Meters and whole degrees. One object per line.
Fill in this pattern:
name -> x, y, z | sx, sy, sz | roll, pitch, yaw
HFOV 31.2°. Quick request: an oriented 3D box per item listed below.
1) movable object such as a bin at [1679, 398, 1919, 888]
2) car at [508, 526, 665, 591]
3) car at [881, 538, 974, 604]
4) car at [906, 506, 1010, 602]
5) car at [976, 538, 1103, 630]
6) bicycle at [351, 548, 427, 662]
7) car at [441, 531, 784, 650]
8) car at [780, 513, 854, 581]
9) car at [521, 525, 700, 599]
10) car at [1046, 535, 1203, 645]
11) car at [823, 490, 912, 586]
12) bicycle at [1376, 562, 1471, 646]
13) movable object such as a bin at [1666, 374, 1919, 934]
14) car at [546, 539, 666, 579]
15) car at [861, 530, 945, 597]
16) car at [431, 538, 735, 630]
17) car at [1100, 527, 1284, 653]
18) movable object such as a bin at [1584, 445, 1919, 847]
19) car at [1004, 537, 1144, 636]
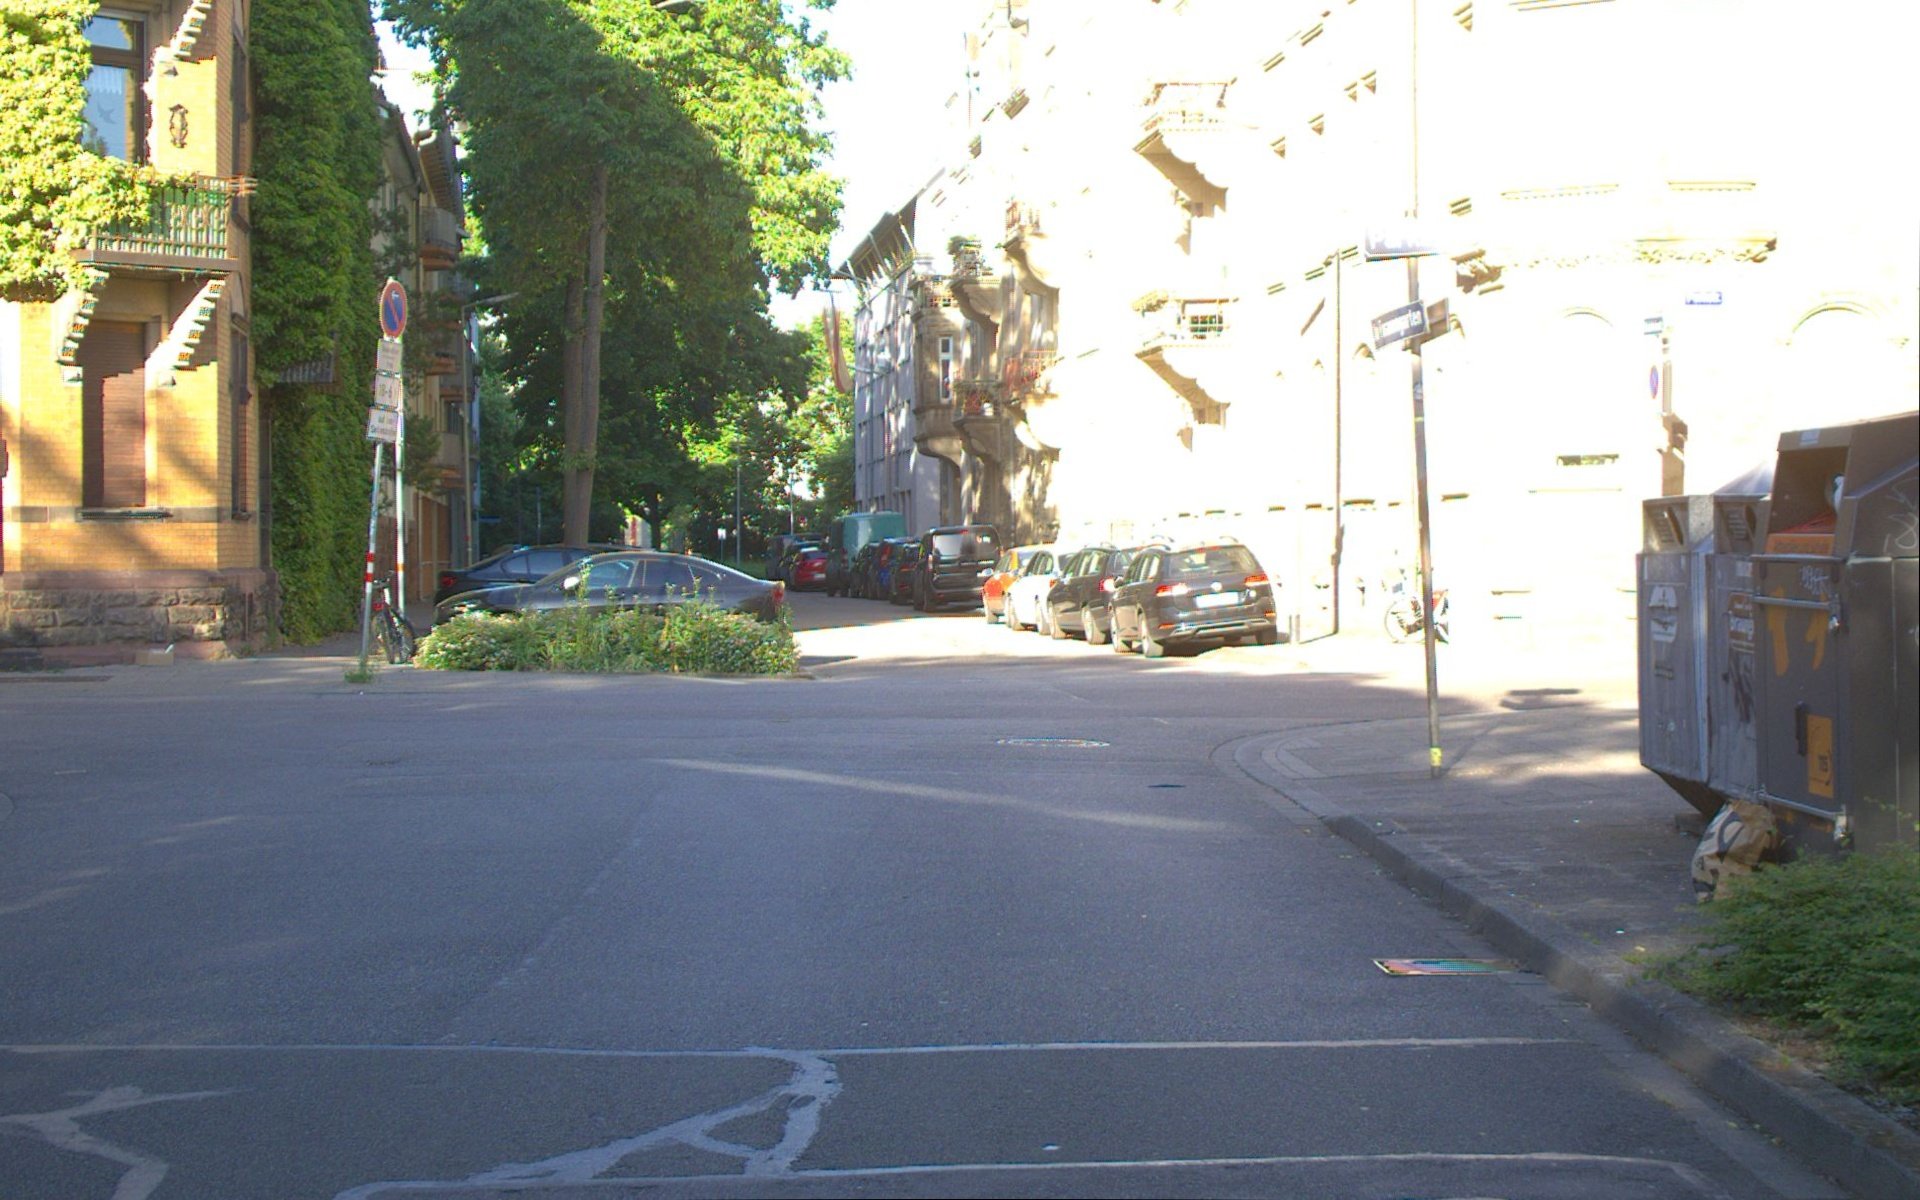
movable object such as a bin -> 3.577, 0.156, 13.544 | 1.147, 1.821, 1.386 | 1, 1, -1
car -> -9.278, -1.028, 85.356 | 3.800, 1.570, 1.710 | 1, 1, -8
car -> -0.801, -0.706, 82.425 | 1.802, 1.509, 4.001 | 1, 1, -6
car -> -0.075, -0.986, 74.232 | 1.802, 1.997, 4.001 | 1, 1, -6
car -> 1.398, -0.303, 61.867 | 1.737, 1.576, 4.001 | 1, 1, -6
bicycle -> -6.545, 0.041, 39.473 | 0.563, 1.264, 1.603 | -1, 1, 1
car -> -4.451, -0.130, 43.872 | 4.242, 1.430, 2.000 | 1, 1, -8
car -> -4.885, -1.789, 116.629 | 2.165, 2.229, 4.792 | 1, 1, -6
car -> -7.709, -0.836, 75.651 | 3.800, 1.570, 1.710 | 1, 1, -10
car -> 2.449, -0.173, 52.105 | 1.737, 1.576, 4.001 | 1, 1, -6
car -> -2.703, -1.790, 99.611 | 2.165, 2.681, 4.792 | 1, 1, -6
bicycle -> 5.686, 0.041, 42.241 | 0.514, 0.994, 1.576 | 1, 1, -18
movable object such as a bin -> 3.612, 0.180, 12.098 | 1.920, 1.847, 1.393 | 1, 1, -1
car -> -11.461, -1.329, 111.268 | 3.800, 1.236, 1.710 | 1, 1, -8
car -> -1.504, -0.954, 89.397 | 1.802, 1.673, 4.001 | 1, 1, -6
car -> -6.160, -0.264, 56.061 | 4.833, 1.430, 1.710 | 1, 1, -8
car -> 3.037, -0.154, 45.701 | 1.737, 1.576, 4.001 | 1, 1, -6
movable object such as a bin -> 3.706, 0.185, 15.084 | 1.586, 1.652, 1.640 | 1, 1, -1
car -> 1.854, -0.241, 57.104 | 1.737, 1.576, 4.001 | 1, 1, -6
